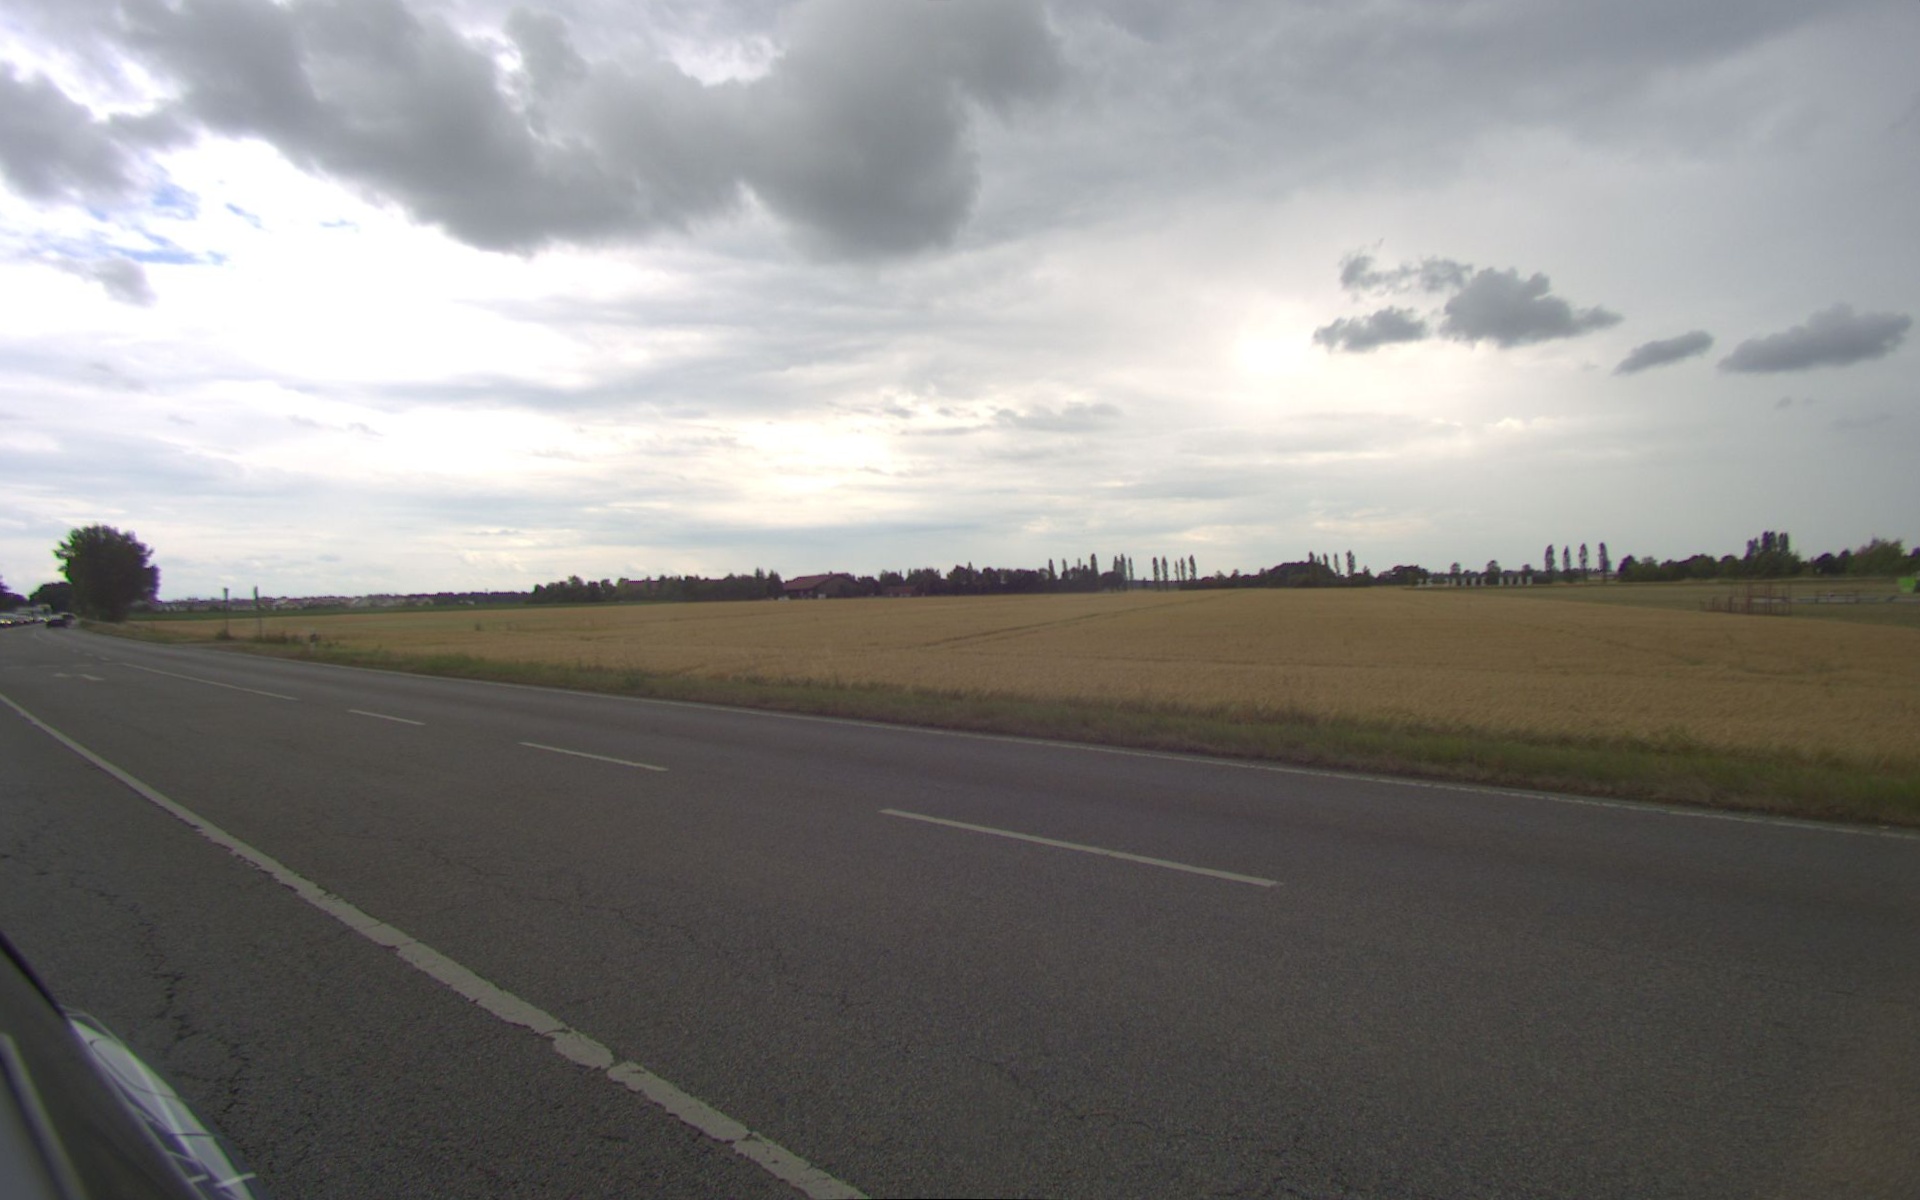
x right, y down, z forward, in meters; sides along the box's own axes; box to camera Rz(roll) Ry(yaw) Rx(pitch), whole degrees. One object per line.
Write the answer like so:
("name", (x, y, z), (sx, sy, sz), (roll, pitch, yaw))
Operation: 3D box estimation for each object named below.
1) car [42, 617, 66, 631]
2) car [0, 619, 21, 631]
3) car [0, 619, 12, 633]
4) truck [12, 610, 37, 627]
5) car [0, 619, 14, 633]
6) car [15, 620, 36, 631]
("car", (-100.900, 2.662, 112.742), (1.804, 1.421, 4.431), (-2, 1, -40))
("car", (-123.920, 3.238, 132.001), (1.766, 1.595, 4.145), (0, -1, -37))
("car", (-112.671, 3.061, 118.773), (1.766, 1.595, 4.144), (0, -1, -38))
("truck", (-154.339, 3.021, 166.983), (2.284, 2.786, 7.689), (-1, 0, -37))
("car", (-117.942, 3.195, 124.365), (1.924, 1.595, 4.146), (-1, -1, -37))
("car", (-137.152, 3.693, 148.598), (1.766, 1.551, 4.146), (-1, -1, -36))
